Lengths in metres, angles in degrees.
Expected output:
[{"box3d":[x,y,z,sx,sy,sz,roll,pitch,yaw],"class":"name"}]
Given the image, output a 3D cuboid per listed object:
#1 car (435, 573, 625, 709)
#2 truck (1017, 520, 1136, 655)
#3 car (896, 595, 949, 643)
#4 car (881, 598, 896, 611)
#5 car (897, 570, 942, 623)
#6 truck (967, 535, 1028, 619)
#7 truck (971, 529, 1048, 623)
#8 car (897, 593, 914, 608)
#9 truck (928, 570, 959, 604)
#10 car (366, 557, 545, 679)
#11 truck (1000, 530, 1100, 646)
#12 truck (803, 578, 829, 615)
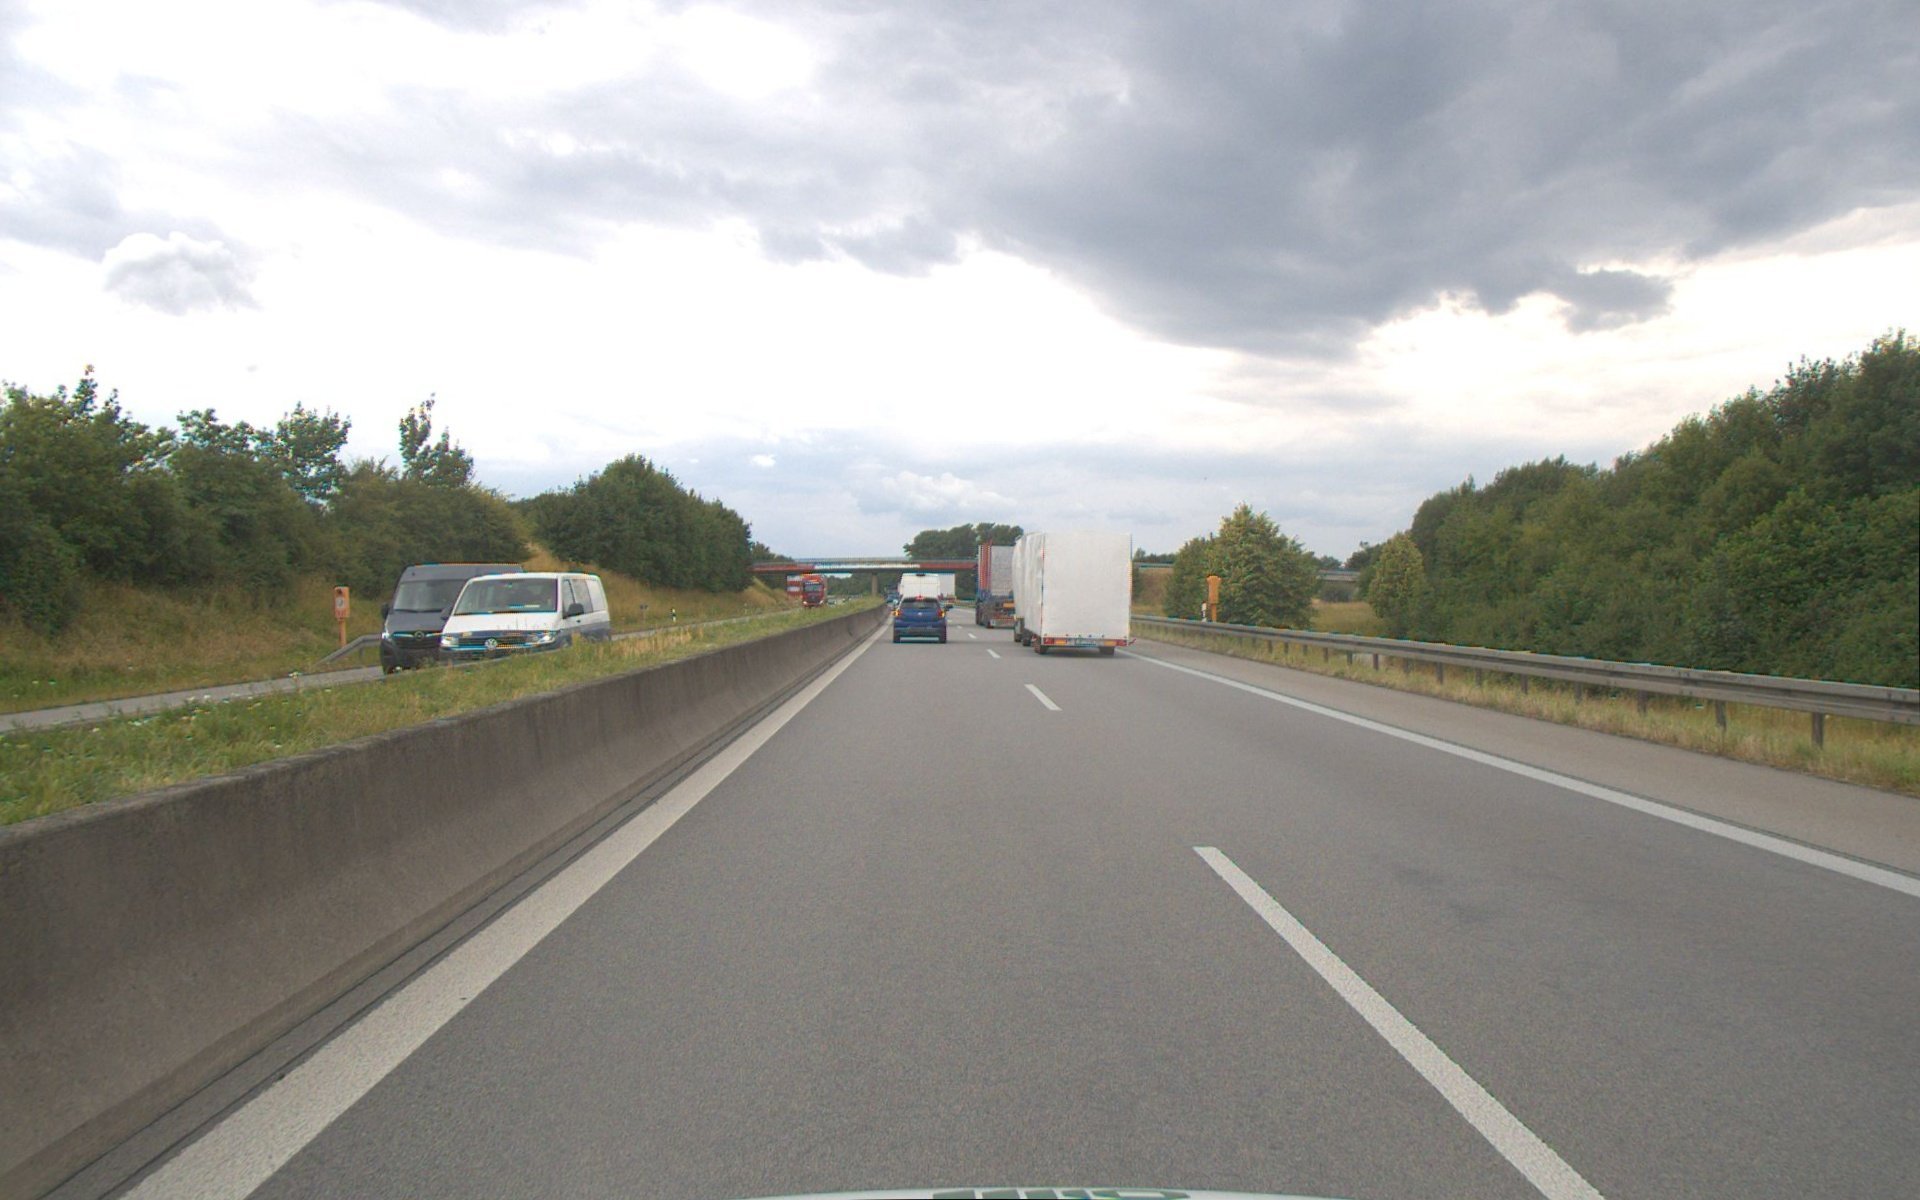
[{"box3d":[-6.994,0.593,27.471,1.939,2.049,5.129,0,0,-1],"class":"car"},{"box3d":[2.944,-0.311,43.719,2.366,3.278,7.140,0,0,-2],"class":"truck"},{"box3d":[-1.175,0.563,52.275,1.630,1.431,3.648,0,0,-1],"class":"car"},{"box3d":[-9.663,0.545,222.415,1.954,1.713,3.998,0,0,-3],"class":"car"},{"box3d":[-2.035,-0.158,81.519,2.087,2.526,5.836,0,0,-3],"class":"car"},{"box3d":[1.857,-1.184,84.371,2.620,4.116,5.508,-1,1,-4],"class":"truck"},{"box3d":[2.222,-1.124,78.875,2.620,4.116,11.099,-1,1,-4],"class":"truck"},{"box3d":[-6.190,0.098,187.664,1.896,1.672,4.900,0,0,-3],"class":"car"},{"box3d":[-1.966,-1.449,191.969,3.049,3.754,9.316,-2,0,-3],"class":"truck"},{"box3d":[-11.516,0.377,38.364,2.126,2.508,6.721,-2,0,-1],"class":"car"},{"box3d":[2.666,-0.338,50.907,2.381,3.300,7.244,0,0,-2],"class":"truck"},{"box3d":[-16.781,-0.479,193.075,2.652,4.160,5.162,-2,0,-2],"class":"truck"}]
